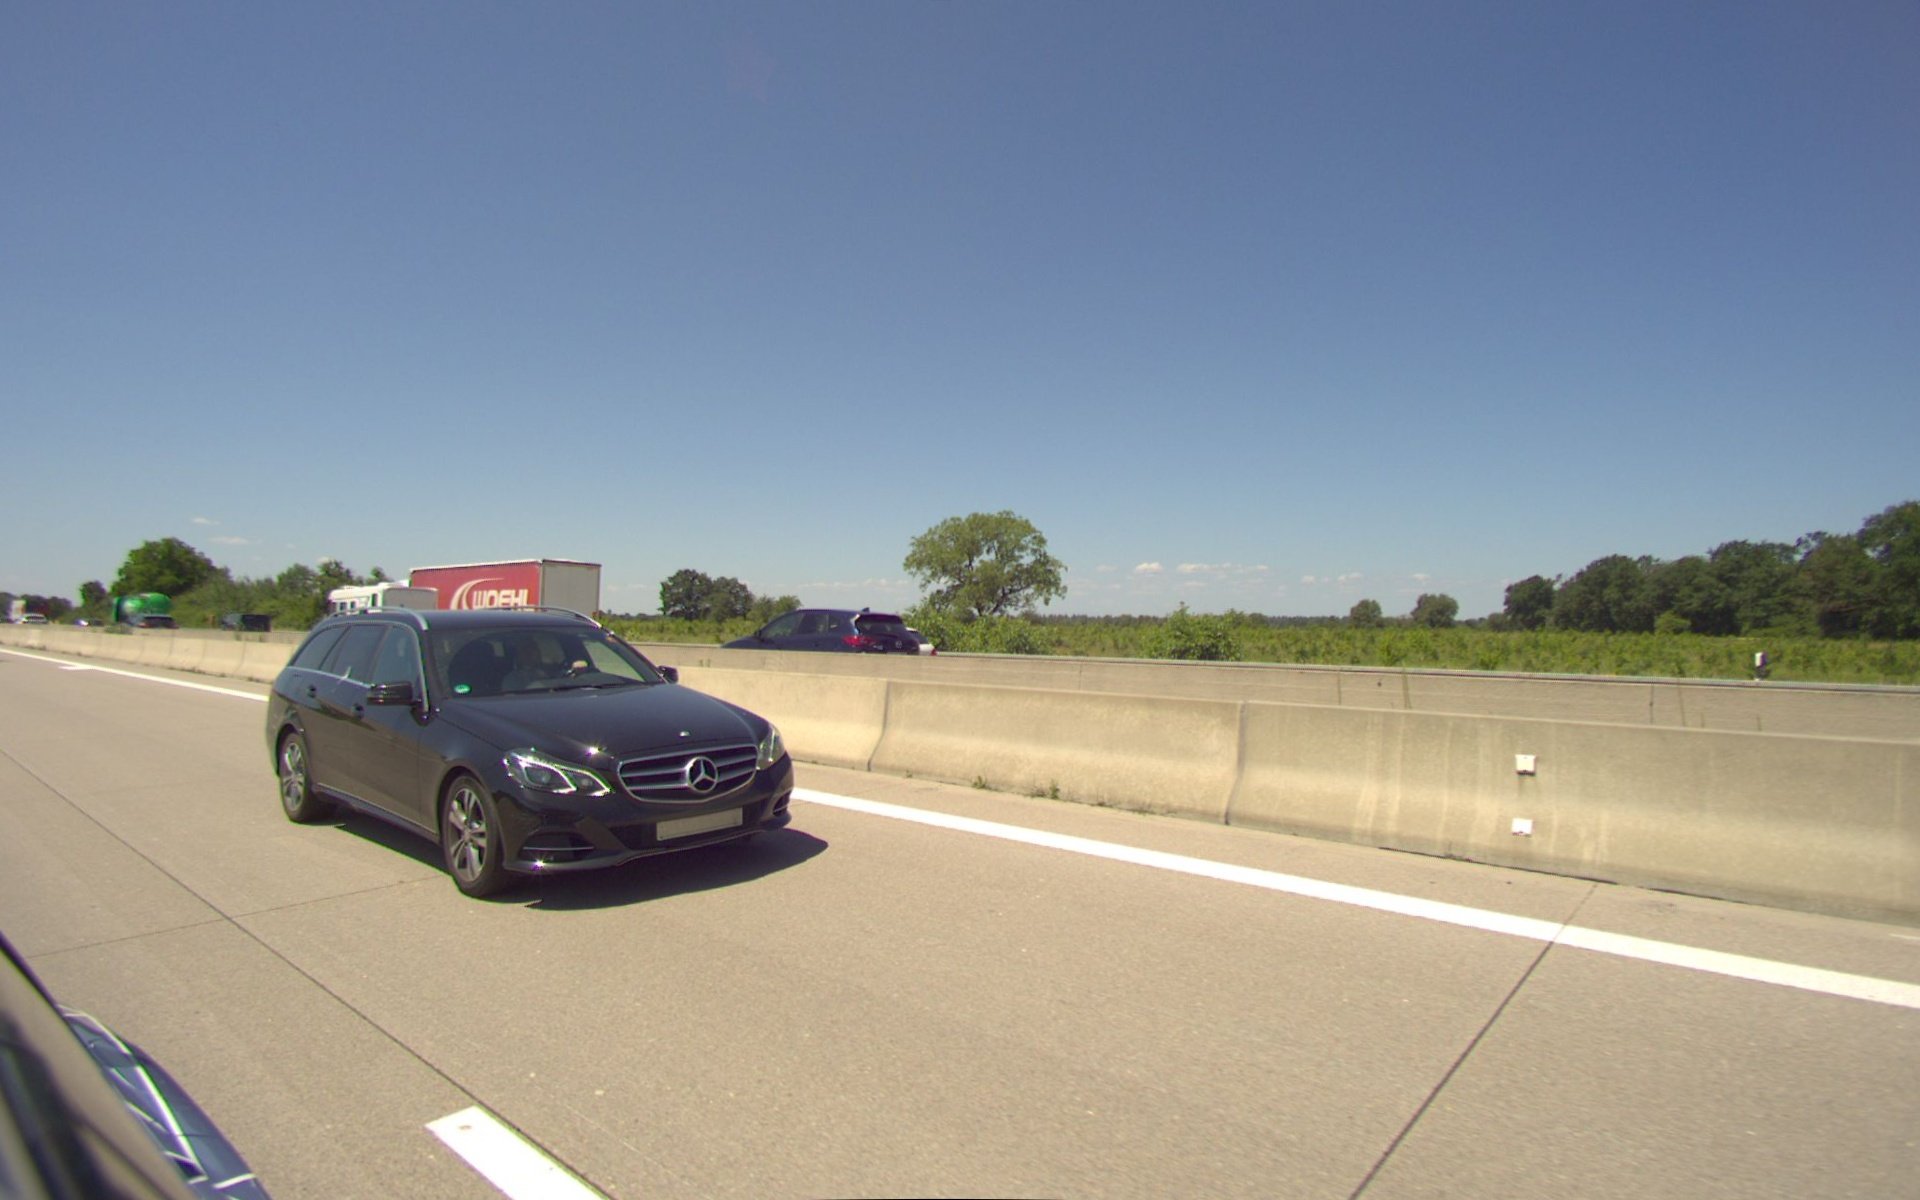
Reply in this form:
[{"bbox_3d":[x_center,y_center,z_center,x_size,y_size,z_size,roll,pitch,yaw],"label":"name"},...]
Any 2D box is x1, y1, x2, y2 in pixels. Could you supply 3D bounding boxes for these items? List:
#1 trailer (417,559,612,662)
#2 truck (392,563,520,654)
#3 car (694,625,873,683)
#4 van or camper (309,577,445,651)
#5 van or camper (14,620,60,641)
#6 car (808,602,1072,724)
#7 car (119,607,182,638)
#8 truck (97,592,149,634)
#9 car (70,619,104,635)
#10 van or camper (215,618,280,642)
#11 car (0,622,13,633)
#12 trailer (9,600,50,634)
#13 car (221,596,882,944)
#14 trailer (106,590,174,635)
[{"bbox_3d":[-19.887,0.554,44.511,12.336,4.013,2.968,-1,-2,42],"label":"trailer"},{"bbox_3d":[-24.123,0.475,48.283,7.291,4.013,2.968,-1,-2,42],"label":"truck"},{"bbox_3d":[-4.363,1.252,24.574,4.789,1.273,1.670,-1,-2,42],"label":"car"},{"bbox_3d":[-25.046,0.637,43.292,7.931,2.912,2.500,-1,-2,40],"label":"van or camper"},{"bbox_3d":[-77.507,2.576,84.946,5.847,1.705,2.218,-1,-2,42],"label":"van or camper"},{"bbox_3d":[-0.432,0.947,16.475,4.336,1.732,1.670,-1,-2,42],"label":"car"},{"bbox_3d":[-42.327,1.177,52.894,4.599,1.567,1.775,-1,-2,42],"label":"car"},{"bbox_3d":[-80.416,1.291,97.235,6.198,3.912,2.716,-1,-2,40],"label":"truck"},{"bbox_3d":[-76.138,2.376,88.271,3.998,1.343,1.678,-1,-2,41],"label":"car"},{"bbox_3d":[-50.444,2.109,71.610,6.087,1.634,2.341,-1,-2,41],"label":"van or camper"},{"bbox_3d":[-123.977,3.540,130.967,4.544,1.411,1.607,-1,-2,41],"label":"car"},{"bbox_3d":[-131.065,2.379,142.476,13.229,4.572,2.772,-1,-2,42],"label":"trailer"},{"bbox_3d":[-3.152,0.784,6.902,5.601,1.484,1.871,-1,-2,41],"label":"car"},{"bbox_3d":[-75.877,1.190,93.523,11.094,3.907,2.708,-1,-2,39],"label":"trailer"}]
